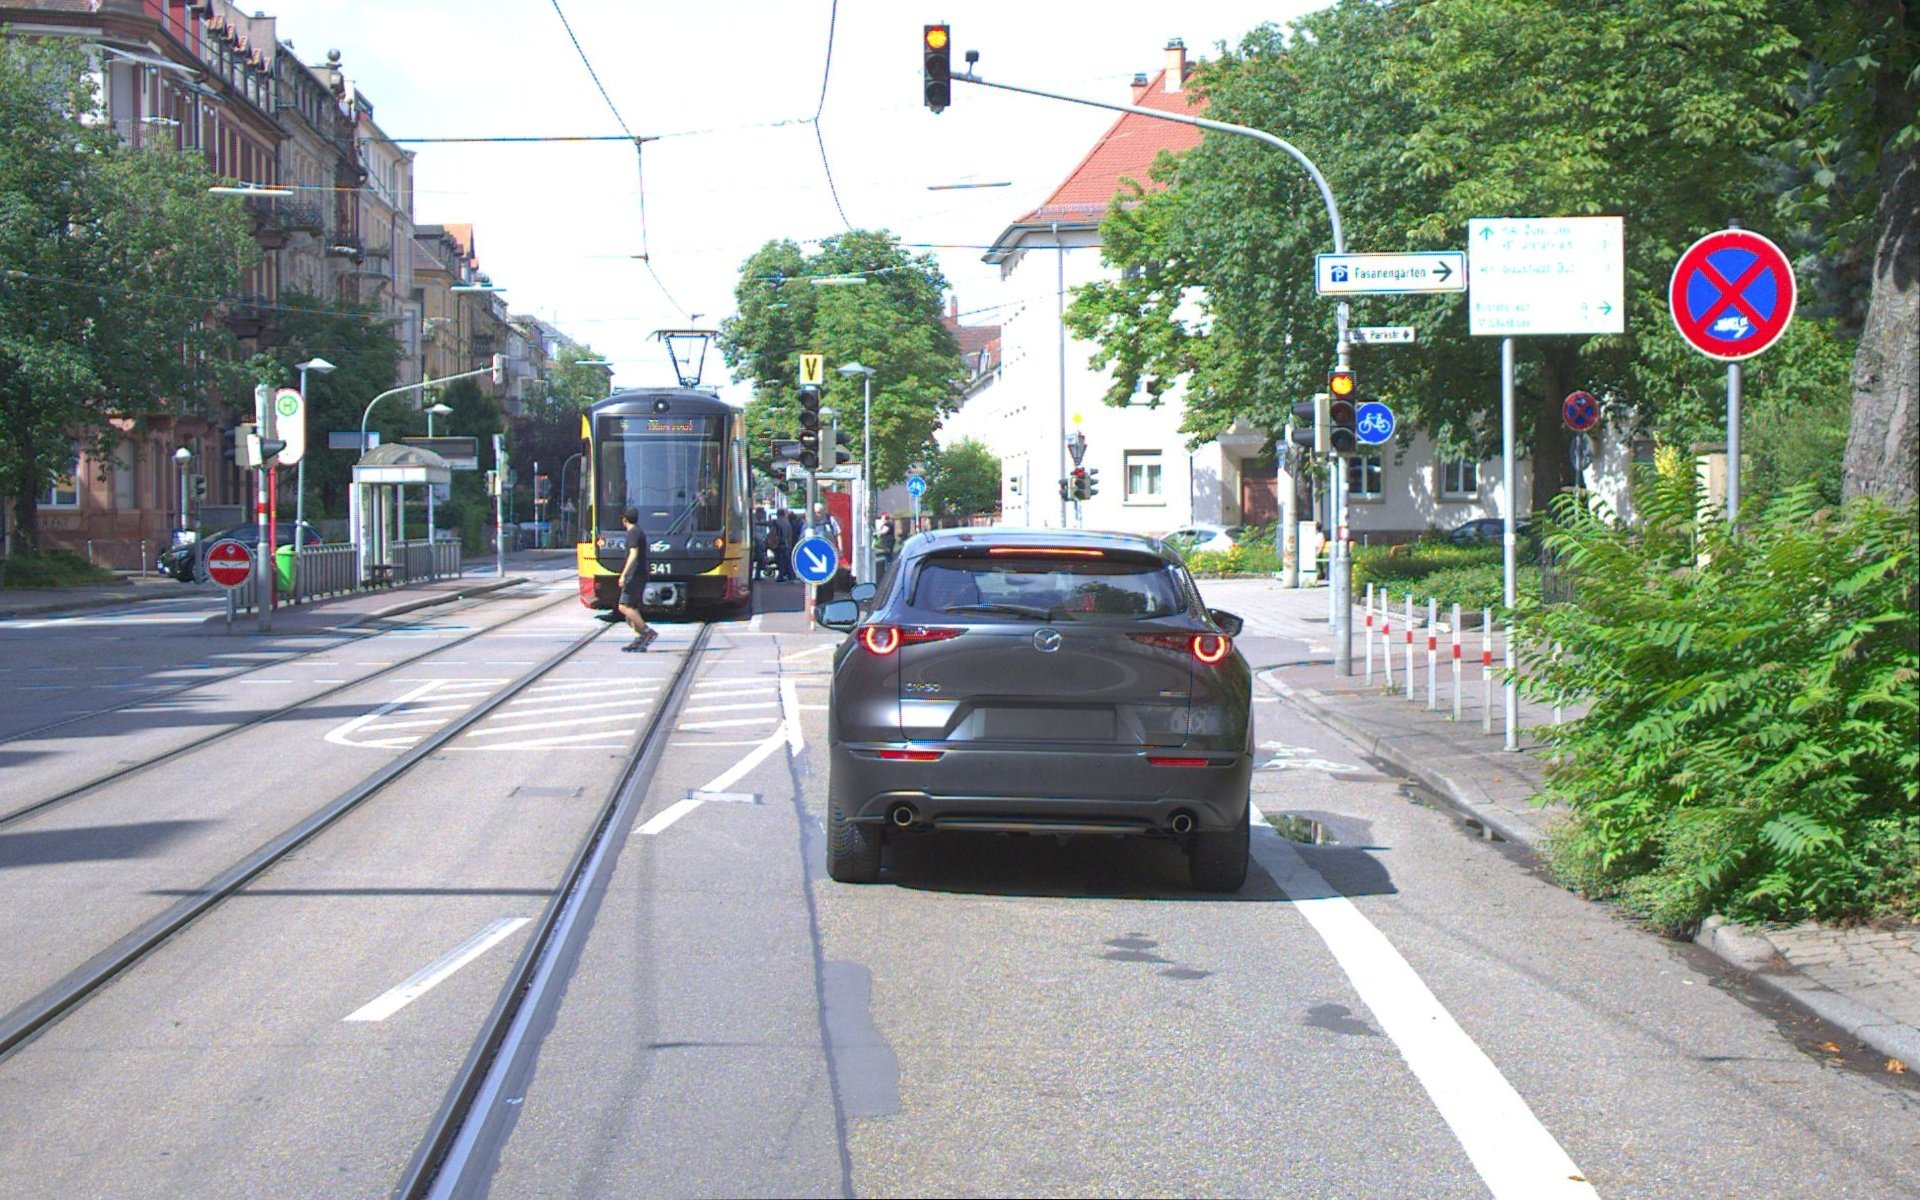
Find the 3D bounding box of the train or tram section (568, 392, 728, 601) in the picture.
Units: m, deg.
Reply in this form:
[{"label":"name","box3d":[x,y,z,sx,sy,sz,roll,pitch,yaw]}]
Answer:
[{"label":"train or tram section","box3d":[-5.798,-1.842,62.944,2.651,3.515,8.498,-1,1,-6]}]

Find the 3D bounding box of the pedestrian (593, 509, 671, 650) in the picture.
[{"label":"pedestrian","box3d":[-3.753,-0.235,39.388,0.874,1.599,0.632,0,1,-5]}]

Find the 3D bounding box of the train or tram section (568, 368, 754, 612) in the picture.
[{"label":"train or tram section","box3d":[-4.842,-1.688,54.472,2.651,3.515,8.498,-1,1,-6]}]

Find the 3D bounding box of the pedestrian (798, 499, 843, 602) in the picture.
[{"label":"pedestrian","box3d":[-2.197,-0.780,53.965,0.667,1.599,0.700,0,1,-5]}]

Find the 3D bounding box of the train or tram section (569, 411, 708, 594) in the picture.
[{"label":"train or tram section","box3d":[-6.753,-1.981,71.389,2.651,3.515,8.498,-1,1,-6]}]

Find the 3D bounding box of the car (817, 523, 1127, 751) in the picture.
[{"label":"car","box3d":[-0.013,0.194,25.603,1.784,1.487,4.884,-1,2,-6]}]

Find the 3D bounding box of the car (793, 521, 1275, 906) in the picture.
[{"label":"car","box3d":[0.194,0.409,15.927,1.789,1.507,4.352,1,2,-4]}]
